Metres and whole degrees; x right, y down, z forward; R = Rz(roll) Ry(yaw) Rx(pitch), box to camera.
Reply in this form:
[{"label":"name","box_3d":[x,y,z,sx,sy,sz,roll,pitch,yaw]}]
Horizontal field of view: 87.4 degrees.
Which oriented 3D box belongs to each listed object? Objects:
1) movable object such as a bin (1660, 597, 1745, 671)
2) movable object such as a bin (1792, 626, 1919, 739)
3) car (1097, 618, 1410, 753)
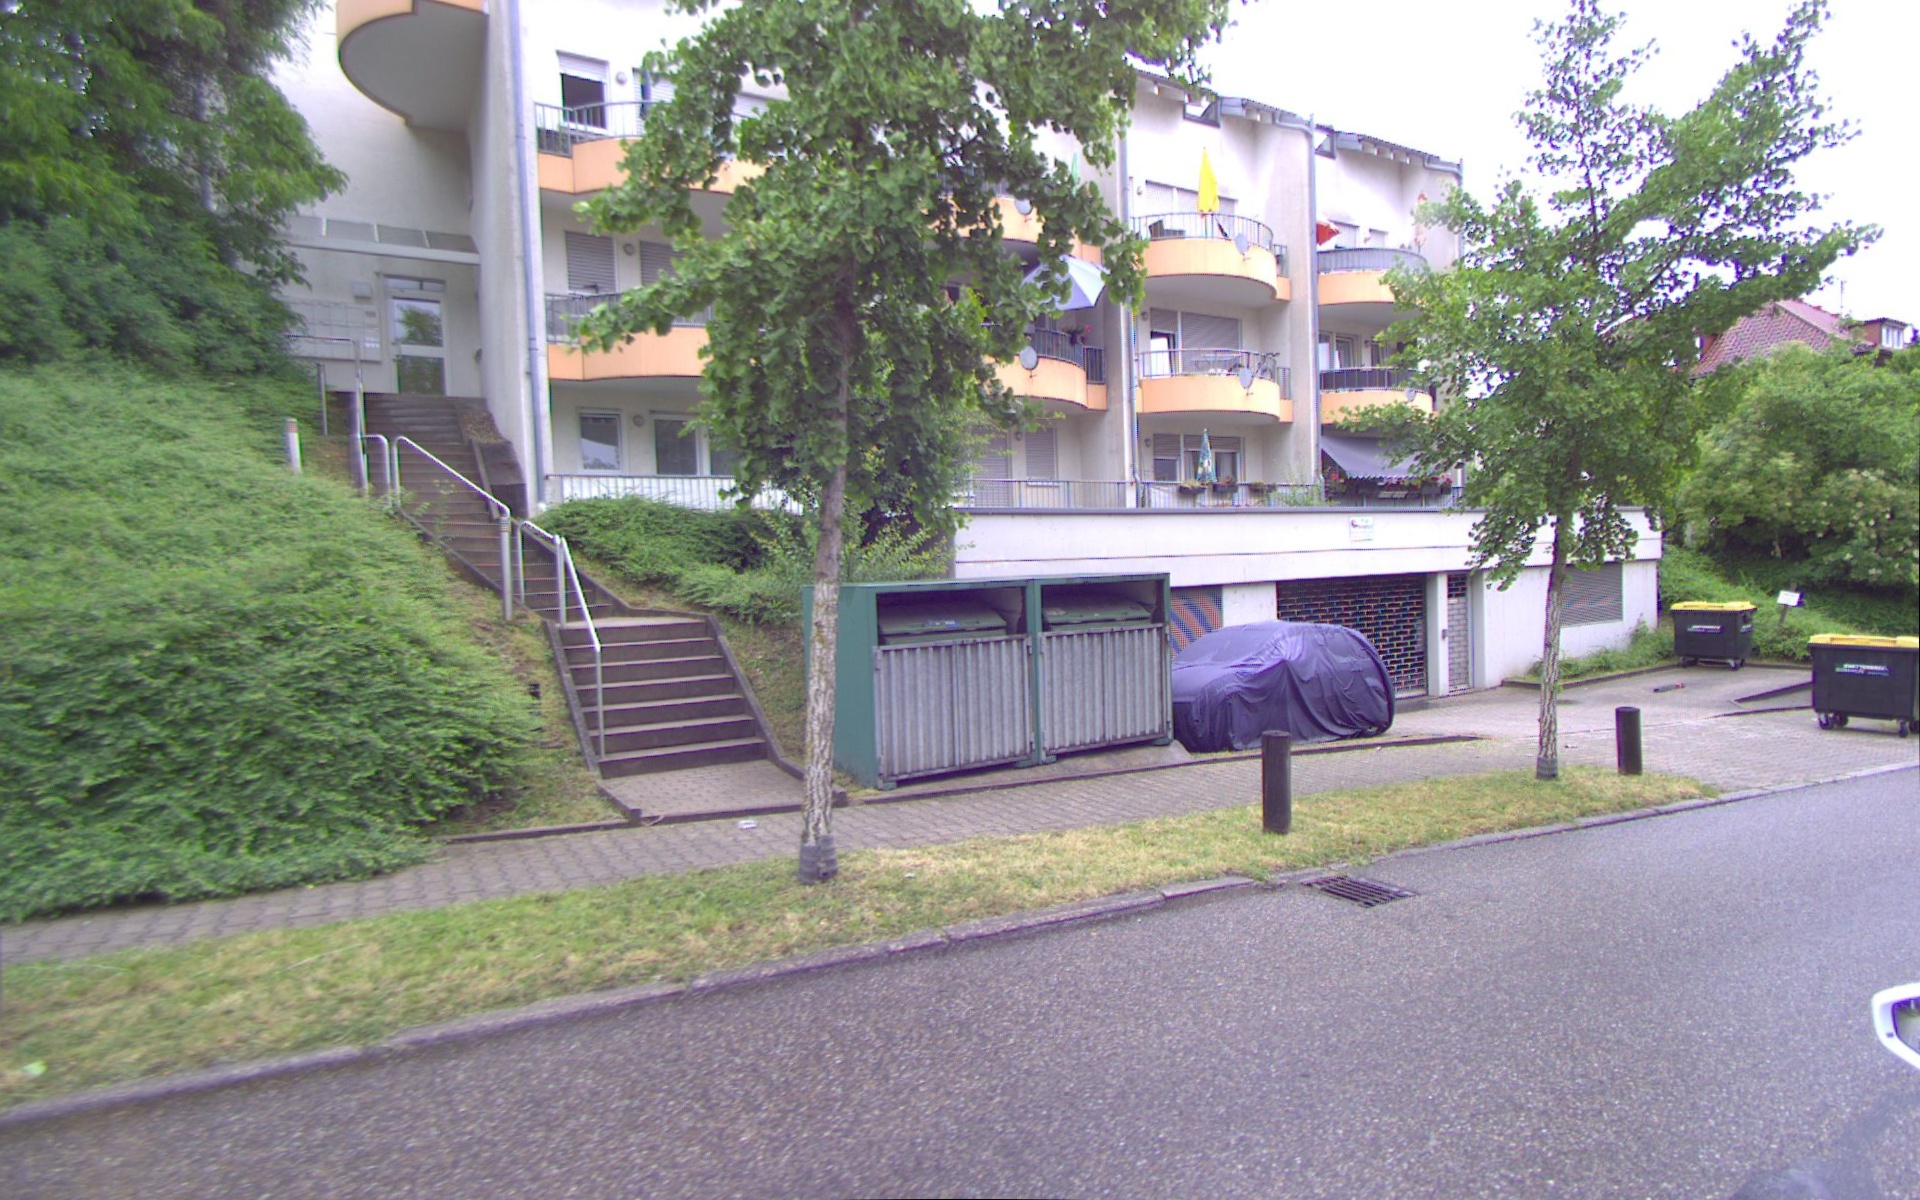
[{"label":"movable object such as a bin","box_3d":[15.057,0.668,20.385,0.483,1.406,1.265,0,2,-32]},{"label":"movable object such as a bin","box_3d":[12.441,1.108,13.924,0.483,1.406,1.265,0,2,-32]},{"label":"car","box_3d":[3.772,1.004,12.755,3.843,1.475,1.732,1,-3,-33]}]
